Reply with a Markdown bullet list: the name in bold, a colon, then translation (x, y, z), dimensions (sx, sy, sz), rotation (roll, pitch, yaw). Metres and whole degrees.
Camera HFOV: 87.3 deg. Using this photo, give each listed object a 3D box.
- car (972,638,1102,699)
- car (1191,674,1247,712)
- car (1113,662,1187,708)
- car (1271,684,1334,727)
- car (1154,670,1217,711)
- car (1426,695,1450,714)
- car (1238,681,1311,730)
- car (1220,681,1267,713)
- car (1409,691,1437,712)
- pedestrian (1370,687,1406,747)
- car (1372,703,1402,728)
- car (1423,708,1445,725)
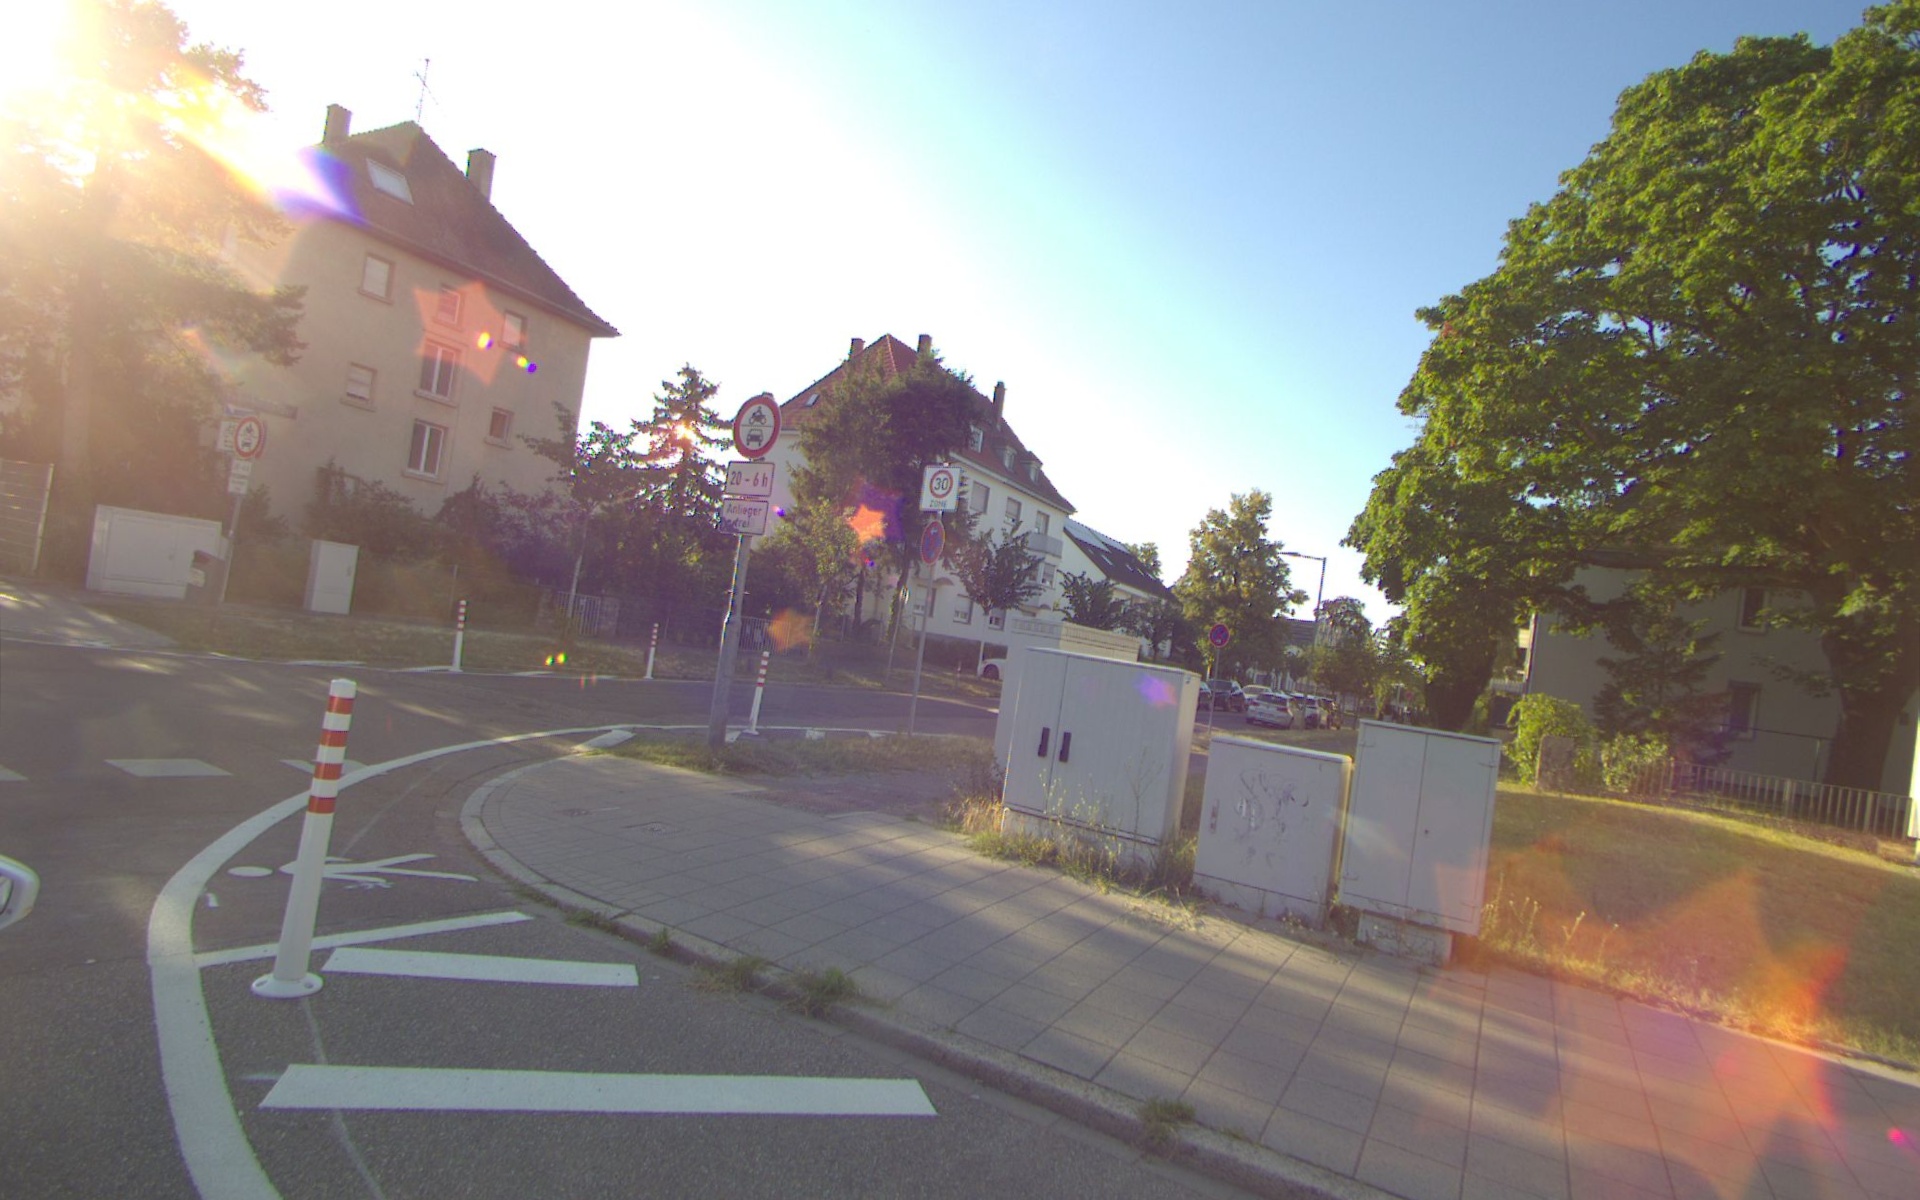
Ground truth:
- **car**: translation (3.120, 2.790, 40.973), dimensions (4.753, 1.632, 1.971), rotation (9, -1, 28)
- **car**: translation (13.802, 4.968, 53.488), dimensions (1.937, 1.632, 4.248), rotation (7, -2, 26)
- **car**: translation (8.249, 3.702, 43.374), dimensions (1.937, 1.632, 4.248), rotation (7, -2, 26)
- **car**: translation (15.841, 4.894, 46.438), dimensions (1.938, 1.632, 4.246), rotation (7, -3, 29)
- **car**: translation (10.972, 4.410, 48.825), dimensions (1.937, 1.632, 4.248), rotation (7, -2, 26)
- **car**: translation (50.983, 11.149, 107.342), dimensions (1.938, 1.632, 4.246), rotation (7, -3, 29)
- **car**: translation (12.942, 4.334, 41.266), dimensions (1.938, 1.632, 4.246), rotation (7, -3, 29)
- **car**: translation (17.500, 6.015, 62.067), dimensions (1.937, 1.632, 4.248), rotation (7, -2, 26)
- **car**: translation (43.223, 9.513, 93.826), dimensions (1.938, 1.632, 4.246), rotation (7, -3, 29)
- **pedestrian**: translation (15.382, 4.204, 36.184), dimensions (0.884, 2.037, 0.692), rotation (7, -1, 30)
- **car**: translation (34.294, 9.246, 80.765), dimensions (1.937, 1.632, 4.248), rotation (7, -2, 26)
- **car**: translation (56.576, 13.914, 120.063), dimensions (1.938, 1.632, 4.246), rotation (7, -3, 29)
